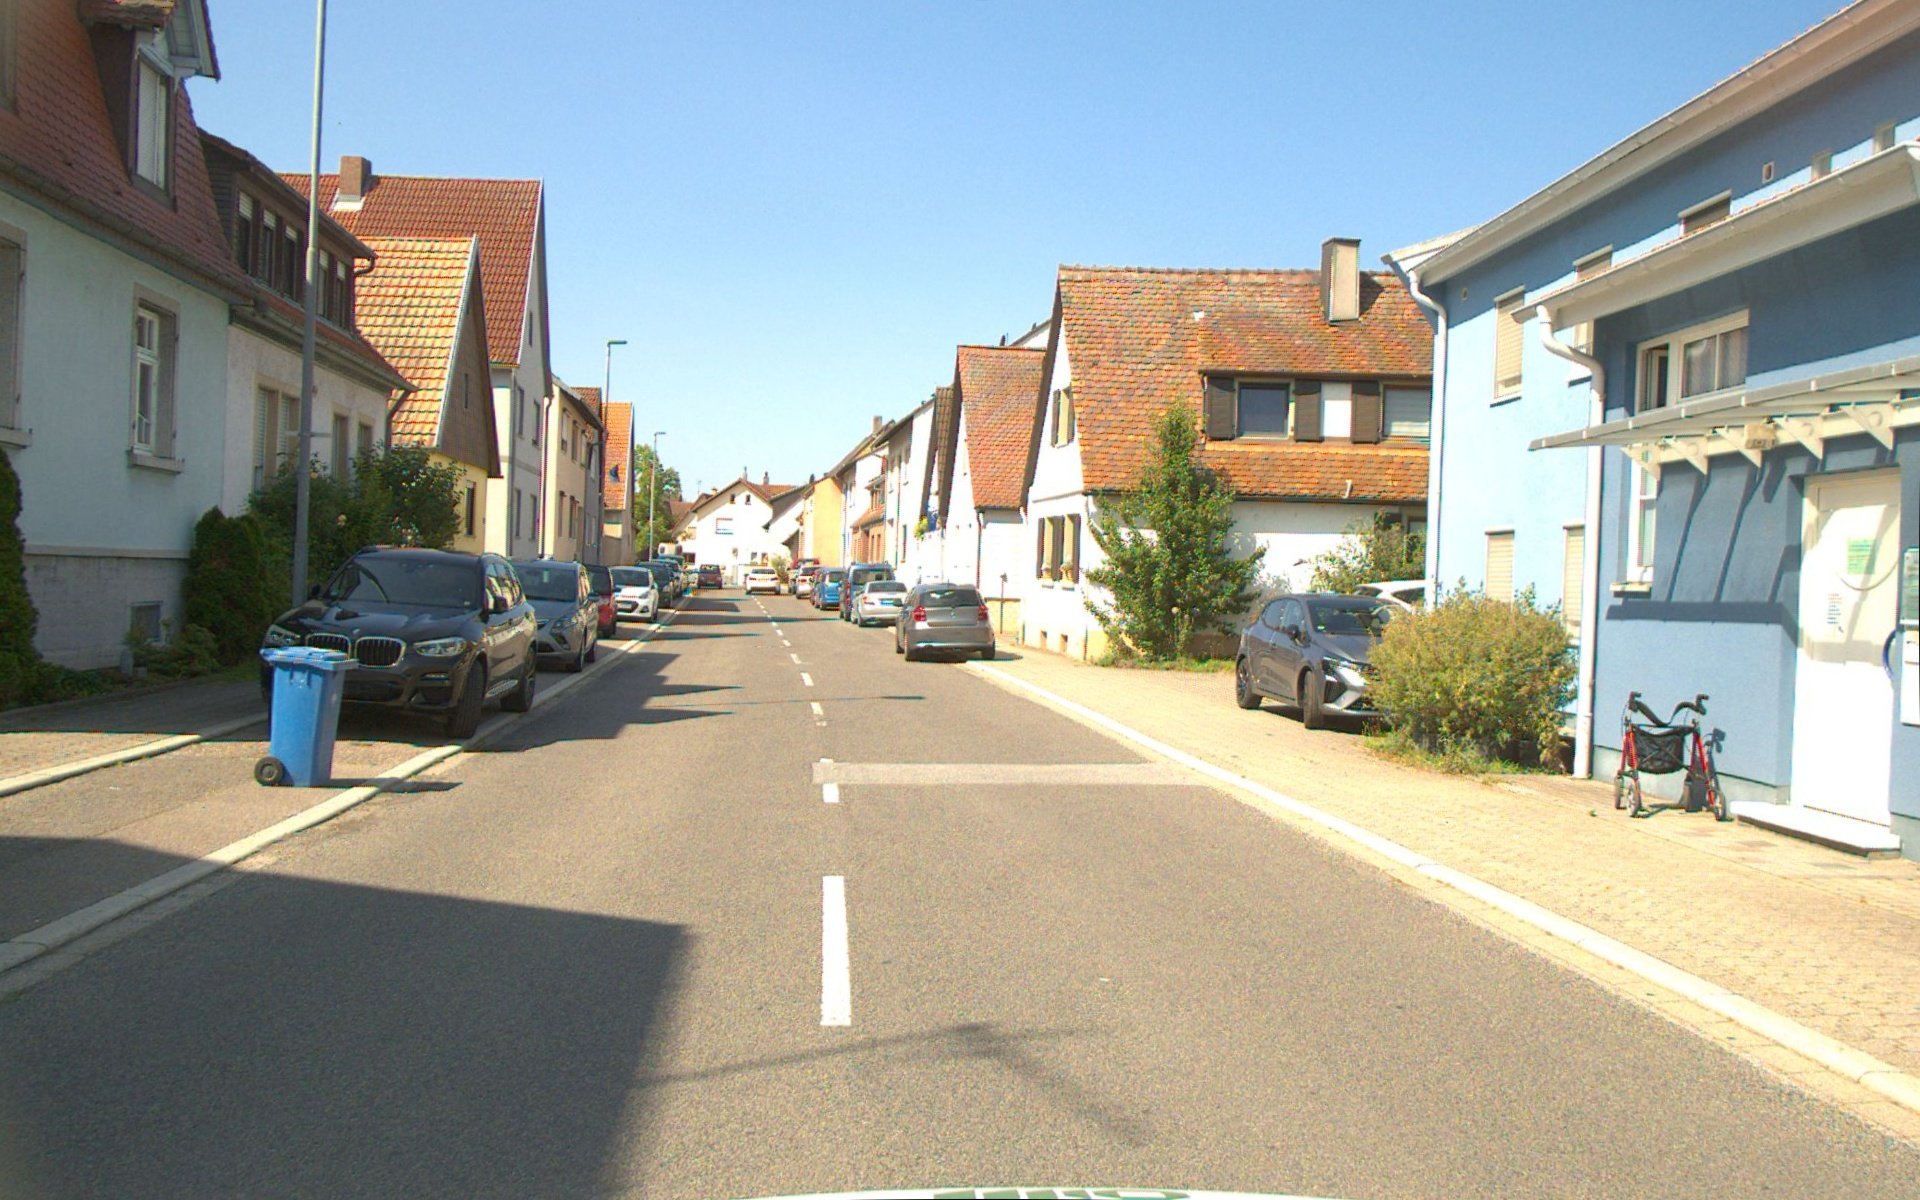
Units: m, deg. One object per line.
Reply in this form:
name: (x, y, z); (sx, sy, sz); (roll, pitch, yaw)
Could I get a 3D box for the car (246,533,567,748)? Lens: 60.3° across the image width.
car: (-5.269, 0.340, 16.439); (1.883, 1.696, 4.660); (4, 0, -5)

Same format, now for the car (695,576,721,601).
car: (-16.194, -0.762, 106.256); (1.571, 1.515, 3.619); (3, 0, -9)

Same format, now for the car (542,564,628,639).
car: (-8.469, 0.018, 37.497); (1.523, 1.571, 2.983); (3, 0, -7)

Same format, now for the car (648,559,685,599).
car: (-13.604, -0.965, 76.829); (1.499, 1.743, 3.619); (3, 0, -9)

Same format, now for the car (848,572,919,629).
car: (-2.270, -0.010, 48.492); (1.673, 1.522, 3.446); (3, 0, -9)

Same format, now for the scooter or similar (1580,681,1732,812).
scooter or similar: (4.906, 1.023, 11.704); (0.713, 0.829, 0.827); (2, 0, 0)

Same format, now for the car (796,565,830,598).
car: (-7.283, -0.930, 81.764); (1.394, 1.541, 3.297); (3, 0, -9)

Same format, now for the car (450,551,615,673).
car: (-6.626, 0.151, 26.089); (1.837, 1.665, 4.657); (3, 0, -7)

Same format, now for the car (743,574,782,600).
car: (-10.679, -0.704, 89.285); (1.956, 1.310, 3.993); (2, 0, -8)

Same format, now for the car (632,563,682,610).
car: (-11.091, -0.499, 60.700); (1.589, 1.605, 3.954); (3, 0, -9)

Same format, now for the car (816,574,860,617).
car: (-4.753, -0.200, 64.249); (1.394, 1.541, 3.297); (3, 0, -9)

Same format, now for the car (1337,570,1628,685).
car: (8.385, 0.431, 26.757); (4.090, 1.686, 1.811); (2, 0, -2)

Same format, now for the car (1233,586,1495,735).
car: (4.443, 0.607, 18.832); (1.657, 1.444, 4.142); (3, 0, -4)

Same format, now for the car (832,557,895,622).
car: (-3.136, -0.336, 53.413); (1.619, 1.943, 3.619); (3, 0, -9)

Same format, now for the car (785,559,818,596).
car: (-9.122, -1.293, 94.836); (1.733, 2.039, 3.444); (2, 0, -7)

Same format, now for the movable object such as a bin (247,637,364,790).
movable object such as a bin: (-4.552, 0.779, 11.532); (0.585, 0.999, 0.530); (3, 0, -6)

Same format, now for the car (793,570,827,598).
car: (-8.186, -0.875, 90.113); (1.733, 1.458, 3.444); (2, 0, -7)

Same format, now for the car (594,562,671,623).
car: (-9.344, -0.218, 47.468); (1.772, 1.574, 4.397); (3, 0, -7)

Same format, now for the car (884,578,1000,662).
car: (-0.411, 0.343, 32.071); (1.673, 1.458, 3.882); (3, 0, -9)
